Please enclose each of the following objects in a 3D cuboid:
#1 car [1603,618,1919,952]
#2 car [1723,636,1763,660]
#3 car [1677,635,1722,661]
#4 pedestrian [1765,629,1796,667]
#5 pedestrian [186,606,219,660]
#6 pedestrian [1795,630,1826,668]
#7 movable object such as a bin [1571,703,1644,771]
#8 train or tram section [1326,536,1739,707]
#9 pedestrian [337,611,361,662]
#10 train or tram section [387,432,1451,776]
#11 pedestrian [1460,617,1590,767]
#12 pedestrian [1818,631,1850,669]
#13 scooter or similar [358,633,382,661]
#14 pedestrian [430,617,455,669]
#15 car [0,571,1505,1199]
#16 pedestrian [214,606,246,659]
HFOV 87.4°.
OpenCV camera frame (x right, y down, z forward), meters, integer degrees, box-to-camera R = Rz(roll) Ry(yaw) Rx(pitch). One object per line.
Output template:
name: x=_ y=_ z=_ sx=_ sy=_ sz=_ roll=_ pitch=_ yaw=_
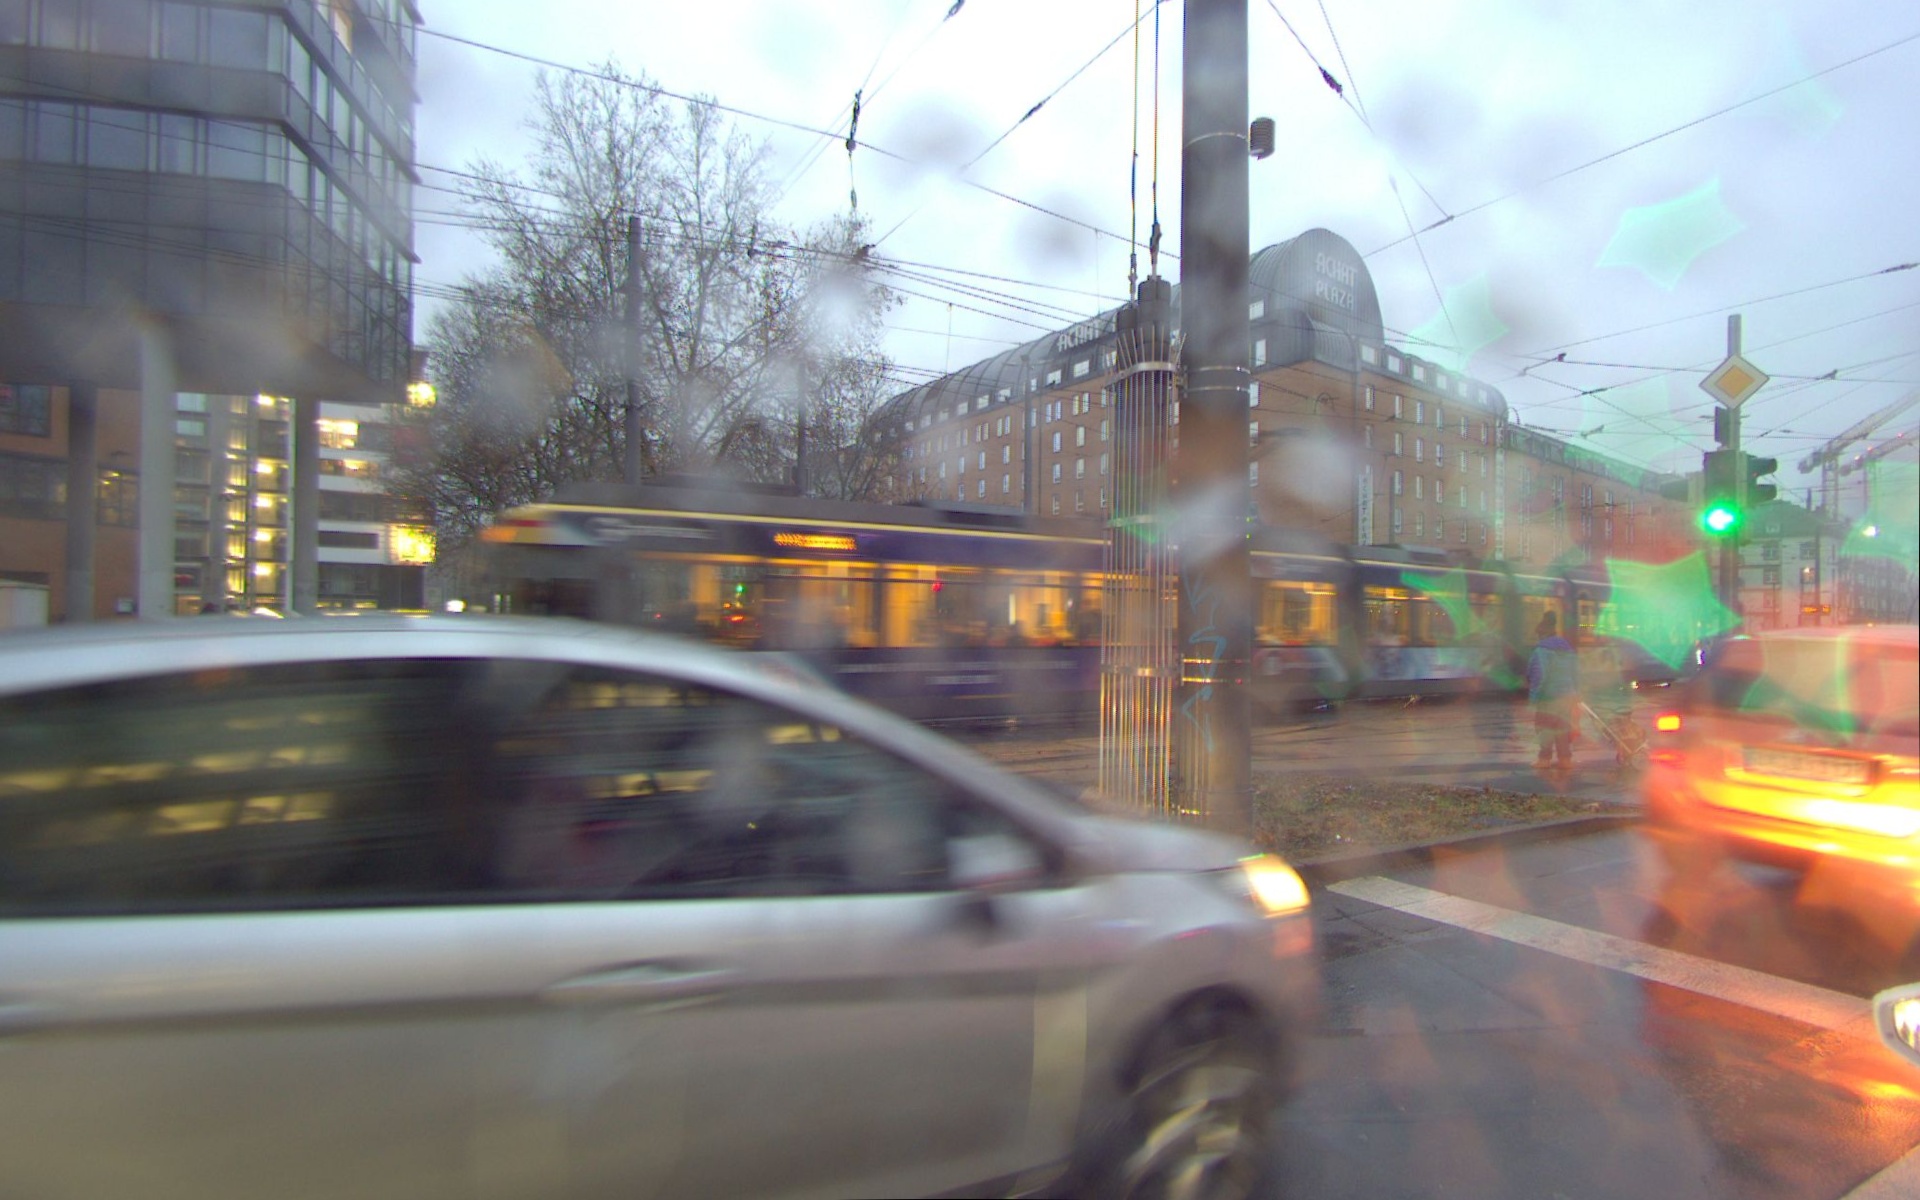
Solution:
car: x=5.626 y=0.875 z=5.828 sx=3.713 sy=1.478 sz=1.690 roll=2 pitch=-2 yaw=-30
car: x=57.413 y=3.490 z=73.659 sx=3.839 sy=1.645 sz=1.769 roll=2 pitch=-1 yaw=-43
car: x=49.936 y=3.207 z=67.813 sx=3.839 sy=1.645 sz=1.769 roll=2 pitch=-1 yaw=-43
pedestrian: x=44.260 y=2.585 z=54.208 sx=0.820 sy=2.040 sz=0.980 roll=1 pitch=-1 yaw=-15
pedestrian: x=-26.904 y=1.182 z=35.683 sx=0.561 sy=1.888 sz=0.736 roll=0 pitch=-2 yaw=6
pedestrian: x=45.906 y=2.637 z=54.227 sx=0.820 sy=2.040 sz=0.980 roll=1 pitch=-1 yaw=-15
movable object such as a bin: x=7.136 y=1.503 z=11.086 sx=0.527 sy=0.708 sz=0.412 roll=1 pitch=-3 yaw=-3
train or tram section: x=17.102 y=0.737 z=28.383 sx=19.034 sy=3.662 sz=2.844 roll=2 pitch=-2 yaw=-37
pedestrian: x=-21.936 y=1.319 z=36.077 sx=0.628 sy=1.797 sz=0.569 roll=1 pitch=-2 yaw=-24
train or tram section: x=1.596 y=0.312 z=17.403 sx=19.860 sy=3.662 sz=2.848 roll=2 pitch=-2 yaw=-34
pedestrian: x=6.336 y=1.024 z=11.301 sx=1.017 sy=1.621 sz=0.716 roll=0 pitch=-3 yaw=-3
pedestrian: x=47.277 y=2.686 z=54.339 sx=0.820 sy=2.040 sz=0.980 roll=1 pitch=-1 yaw=-15
scooter or similar: x=-21.341 y=1.695 z=36.327 sx=0.657 sy=0.973 sz=0.550 roll=1 pitch=-2 yaw=-24
pedestrian: x=-18.864 y=1.576 z=36.642 sx=0.725 sy=1.888 sz=0.569 roll=1 pitch=-2 yaw=-24
car: x=-0.656 y=0.724 z=2.581 sx=3.950 sy=1.467 sz=1.698 roll=2 pitch=0 yaw=-28
pedestrian: x=-26.765 y=1.189 z=36.819 sx=0.561 sy=1.888 sz=0.736 roll=0 pitch=-2 yaw=5
